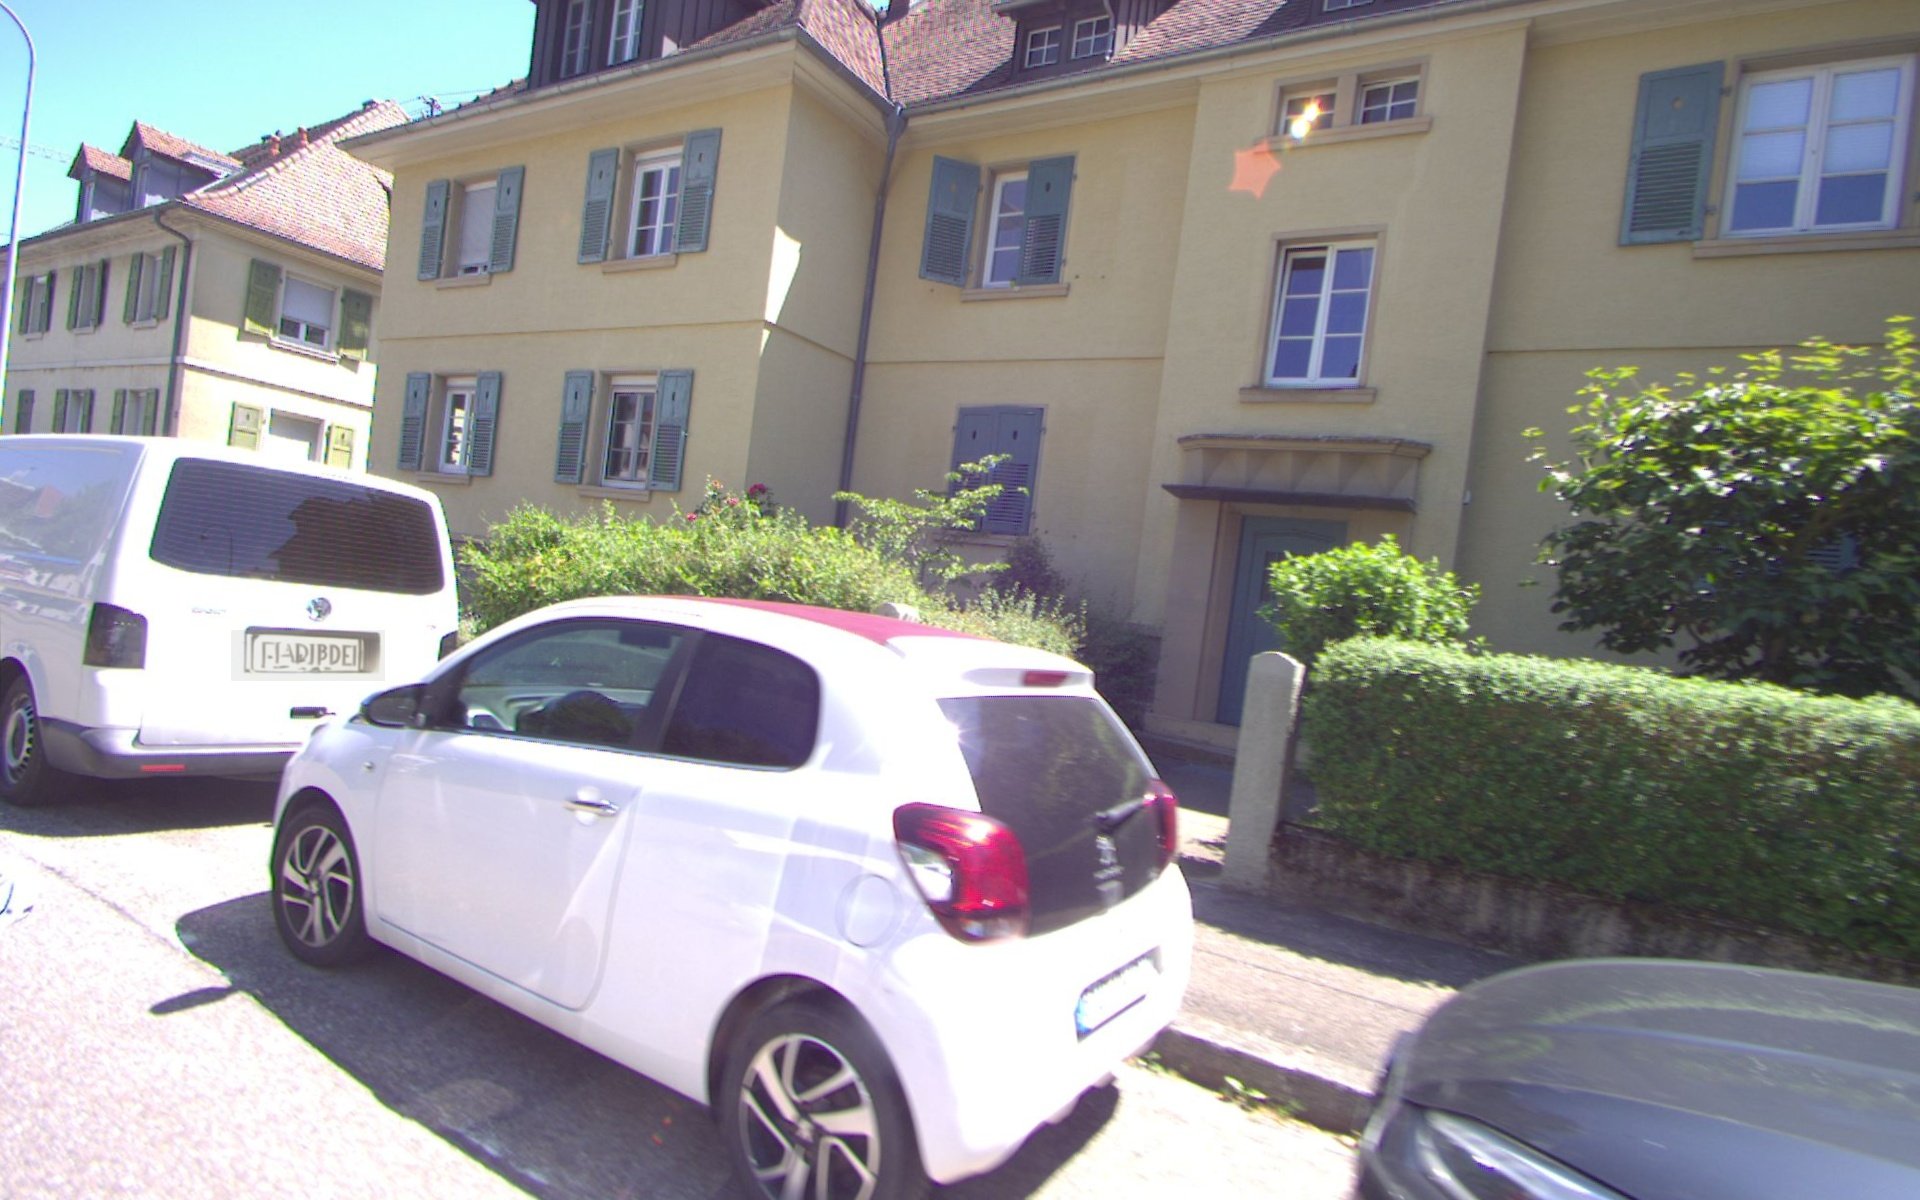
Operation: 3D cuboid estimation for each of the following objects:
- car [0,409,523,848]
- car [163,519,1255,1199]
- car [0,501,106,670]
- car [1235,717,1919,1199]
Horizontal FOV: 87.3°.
[{"bbox_3d":[-5.283,0.018,6.476,4.743,1.922,1.998,6,-3,32],"label":"car"},{"bbox_3d":[-1.016,0.673,3.704,3.587,1.469,1.764,7,-1,31],"label":"car"},{"bbox_3d":[-10.332,-0.355,9.787,4.152,1.469,1.764,7,-1,31],"label":"car"},{"bbox_3d":[2.802,1.192,1.166,4.530,1.387,1.764,7,-1,31],"label":"car"}]
